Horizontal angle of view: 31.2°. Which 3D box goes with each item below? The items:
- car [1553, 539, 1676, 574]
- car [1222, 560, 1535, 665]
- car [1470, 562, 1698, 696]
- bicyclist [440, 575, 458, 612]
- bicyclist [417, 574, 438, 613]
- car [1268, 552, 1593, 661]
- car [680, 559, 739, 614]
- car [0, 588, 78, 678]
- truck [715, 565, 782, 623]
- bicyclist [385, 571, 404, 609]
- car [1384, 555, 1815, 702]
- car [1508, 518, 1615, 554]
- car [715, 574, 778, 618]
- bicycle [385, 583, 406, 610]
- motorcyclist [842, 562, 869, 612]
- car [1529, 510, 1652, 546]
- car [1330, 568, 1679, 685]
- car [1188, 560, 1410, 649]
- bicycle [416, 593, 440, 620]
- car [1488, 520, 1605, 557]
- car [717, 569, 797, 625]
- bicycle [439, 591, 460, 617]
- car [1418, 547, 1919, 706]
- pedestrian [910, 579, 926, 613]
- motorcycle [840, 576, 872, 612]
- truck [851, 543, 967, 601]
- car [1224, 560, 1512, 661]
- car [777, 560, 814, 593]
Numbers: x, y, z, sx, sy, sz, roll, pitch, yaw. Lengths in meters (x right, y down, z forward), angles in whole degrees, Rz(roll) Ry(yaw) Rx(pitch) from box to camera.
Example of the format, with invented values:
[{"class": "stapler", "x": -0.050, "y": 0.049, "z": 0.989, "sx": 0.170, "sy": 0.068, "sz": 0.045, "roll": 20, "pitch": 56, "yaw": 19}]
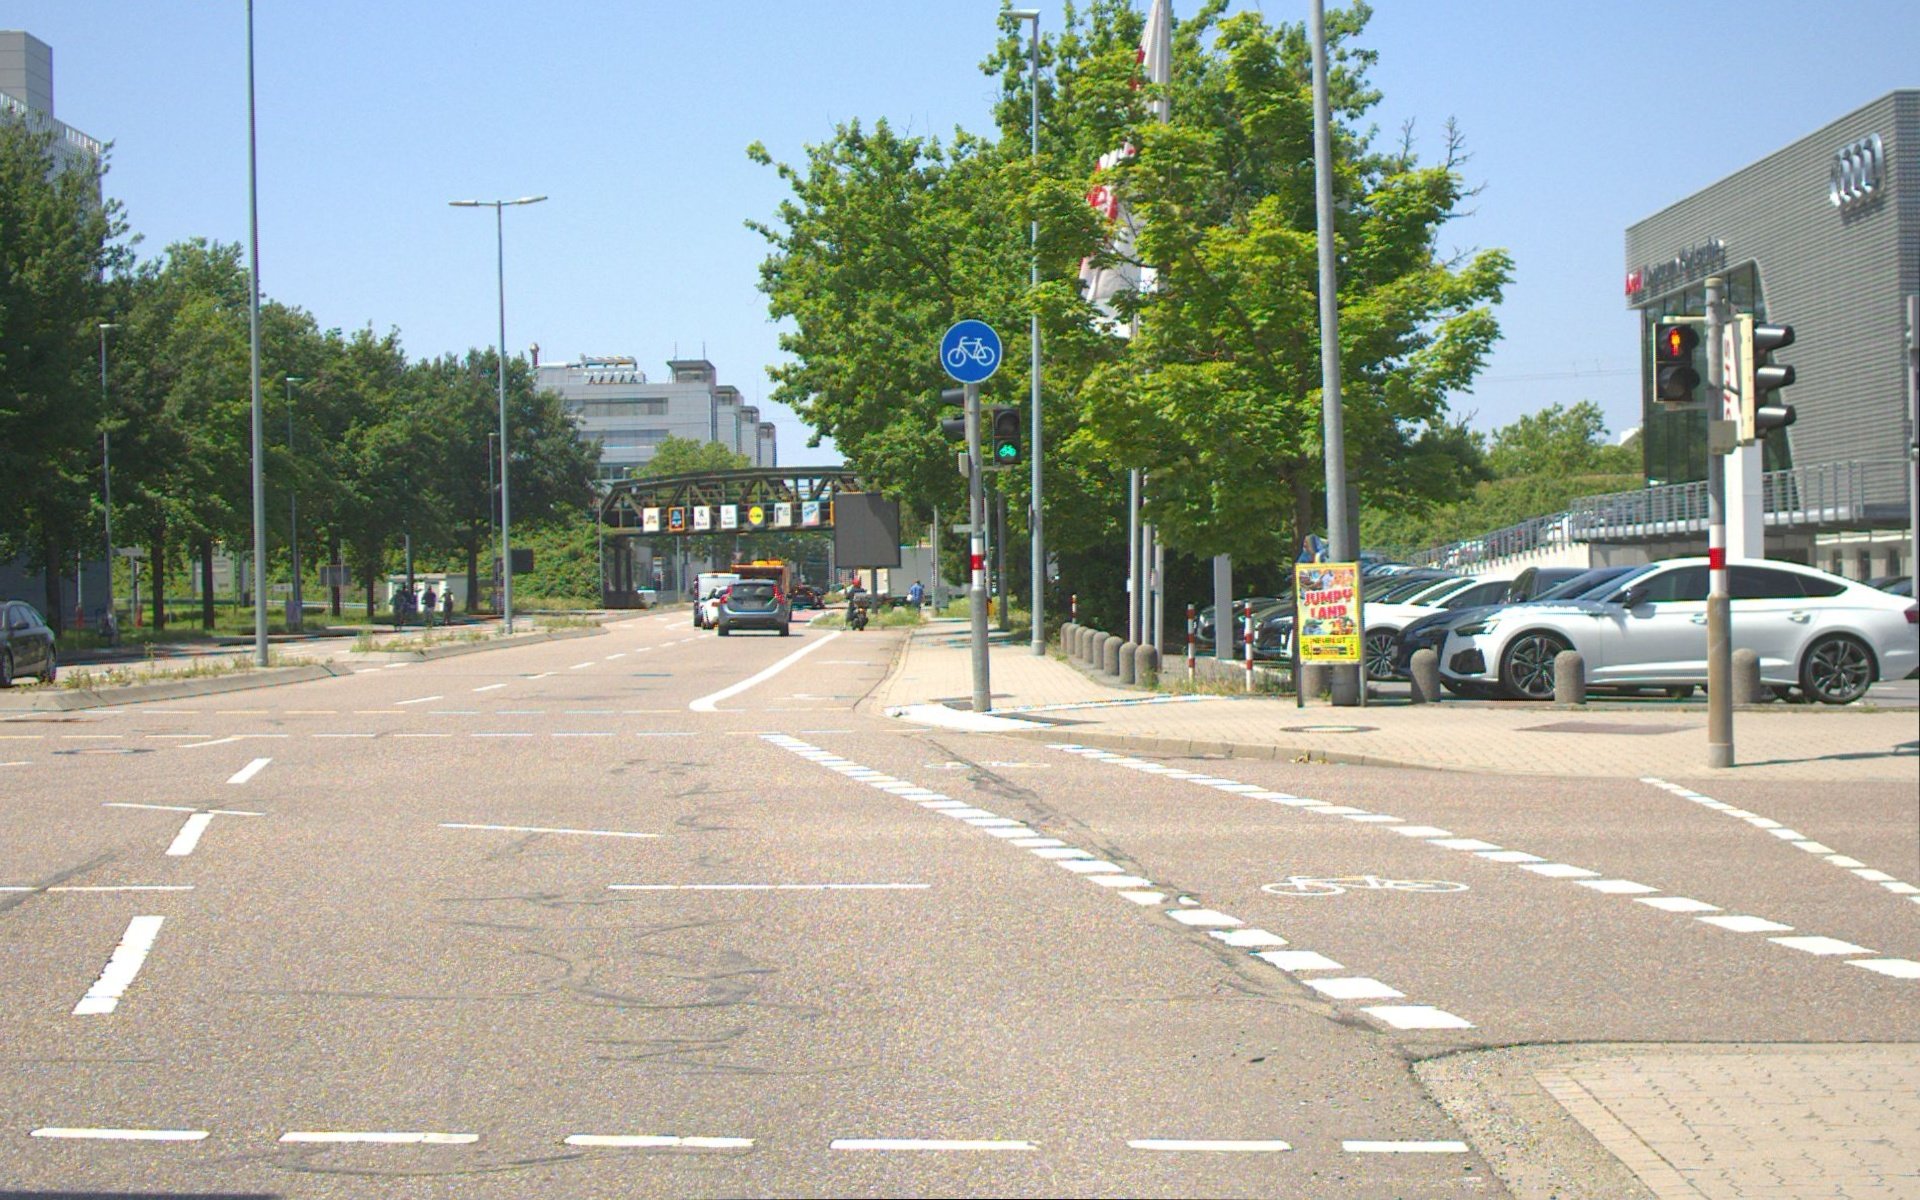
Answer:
[{"class": "car", "x": 22.013, "y": -1.462, "z": 115.650, "sx": 3.724, "sy": 1.127, "sz": 1.684, "roll": 1, "pitch": 0, "yaw": -5}, {"class": "car", "x": 5.973, "y": 0.172, "z": 49.378, "sx": 4.226, "sy": 1.385, "sz": 1.869, "roll": 1, "pitch": 0, "yaw": 0}, {"class": "car", "x": 7.145, "y": 0.299, "z": 39.788, "sx": 1.863, "sy": 1.415, "sz": 4.662, "roll": 1, "pitch": 0, "yaw": 1}, {"class": "bicyclist", "x": -23.461, "y": -0.301, "z": 157.879, "sx": 0.633, "sy": 1.623, "sz": 1.045, "roll": -3, "pitch": 0, "yaw": -1}, {"class": "bicyclist", "x": -22.760, "y": -0.282, "z": 146.961, "sx": 0.745, "sy": 1.680, "sz": 0.952, "roll": -1, "pitch": 0, "yaw": -2}, {"class": "car", "x": 6.312, "y": 0.078, "z": 46.453, "sx": 4.099, "sy": 1.344, "sz": 1.869, "roll": 1, "pitch": 0, "yaw": 0}, {"class": "car", "x": -9.346, "y": -0.507, "z": 128.661, "sx": 1.993, "sy": 2.007, "sz": 4.000, "roll": 1, "pitch": 0, "yaw": -1}, {"class": "car", "x": -16.030, "y": 0.564, "z": 56.325, "sx": 1.726, "sy": 1.441, "sz": 4.719, "roll": -3, "pitch": 0, "yaw": 2}, {"class": "truck", "x": -8.991, "y": -0.278, "z": 146.438, "sx": 2.458, "sy": 2.402, "sz": 7.134, "roll": 1, "pitch": 1, "yaw": -1}, {"class": "bicyclist", "x": -23.739, "y": -0.438, "z": 144.398, "sx": 0.637, "sy": 1.577, "sz": 0.884, "roll": -1, "pitch": 0, "yaw": -2}, {"class": "car", "x": 6.586, "y": 0.283, "z": 35.711, "sx": 4.096, "sy": 1.385, "sz": 1.869, "roll": 1, "pitch": 0, "yaw": 0}, {"class": "car", "x": 21.864, "y": -2.323, "z": 125.063, "sx": 3.523, "sy": 1.235, "sz": 1.677, "roll": 1, "pitch": 0, "yaw": -5}, {"class": "car", "x": -7.066, "y": -0.148, "z": 113.999, "sx": 1.924, "sy": 1.415, "sz": 4.000, "roll": 0, "pitch": 0, "yaw": -1}, {"class": "bicycle", "x": -23.717, "y": -0.149, "z": 144.453, "sx": 0.637, "sy": 1.130, "sz": 1.971, "roll": -1, "pitch": 0, "yaw": -3}, {"class": "motorcyclist", "x": -3.224, "y": -0.410, "z": 106.003, "sx": 0.719, "sy": 1.524, "sz": 0.871, "roll": 1, "pitch": 0, "yaw": -10}, {"class": "car", "x": 22.085, "y": -2.516, "z": 120.521, "sx": 3.938, "sy": 1.207, "sz": 1.718, "roll": 0, "pitch": 0, "yaw": -5}, {"class": "car", "x": 6.873, "y": 0.328, "z": 43.696, "sx": 4.096, "sy": 1.360, "sz": 1.874, "roll": 1, "pitch": 0, "yaw": 0}, {"class": "car", "x": 5.913, "y": 0.072, "z": 60.280, "sx": 3.681, "sy": 1.448, "sz": 1.834, "roll": 1, "pitch": 0, "yaw": 0}, {"class": "bicycle", "x": -22.756, "y": 0.263, "z": 147.113, "sx": 0.739, "sy": 1.121, "sz": 2.435, "roll": -1, "pitch": 0, "yaw": -2}, {"class": "car", "x": 22.047, "y": -2.306, "z": 129.311, "sx": 3.986, "sy": 1.307, "sz": 1.798, "roll": 1, "pitch": 0, "yaw": -5}, {"class": "car", "x": -5.263, "y": -0.089, "z": 89.619, "sx": 1.900, "sy": 1.371, "sz": 4.232, "roll": -1, "pitch": 0, "yaw": -1}, {"class": "bicycle", "x": -23.438, "y": 0.193, "z": 157.955, "sx": 0.629, "sy": 1.155, "sz": 2.117, "roll": -3, "pitch": 0, "yaw": -1}, {"class": "car", "x": 6.851, "y": 0.241, "z": 33.252, "sx": 4.592, "sy": 1.385, "sz": 1.869, "roll": 1, "pitch": 0, "yaw": 2}, {"class": "pedestrian", "x": -1.716, "y": -0.170, "z": 140.957, "sx": 0.623, "sy": 1.370, "sz": 0.564, "roll": -1, "pitch": 0, "yaw": -2}, {"class": "motorcycle", "x": -3.212, "y": -0.186, "z": 105.941, "sx": 0.716, "sy": 1.101, "sz": 1.831, "roll": 1, "pitch": 0, "yaw": -10}, {"class": "truck", "x": -2.514, "y": -1.386, "z": 170.807, "sx": 2.622, "sy": 2.841, "sz": 5.600, "roll": 1, "pitch": 1, "yaw": 43}, {"class": "car", "x": 6.157, "y": 0.152, "z": 52.222, "sx": 4.101, "sy": 1.400, "sz": 1.869, "roll": 1, "pitch": 0, "yaw": 0}, {"class": "car", "x": -10.436, "y": -1.473, "z": 218.431, "sx": 1.994, "sy": 2.007, "sz": 4.000, "roll": -2, "pitch": 0, "yaw": 2}]
